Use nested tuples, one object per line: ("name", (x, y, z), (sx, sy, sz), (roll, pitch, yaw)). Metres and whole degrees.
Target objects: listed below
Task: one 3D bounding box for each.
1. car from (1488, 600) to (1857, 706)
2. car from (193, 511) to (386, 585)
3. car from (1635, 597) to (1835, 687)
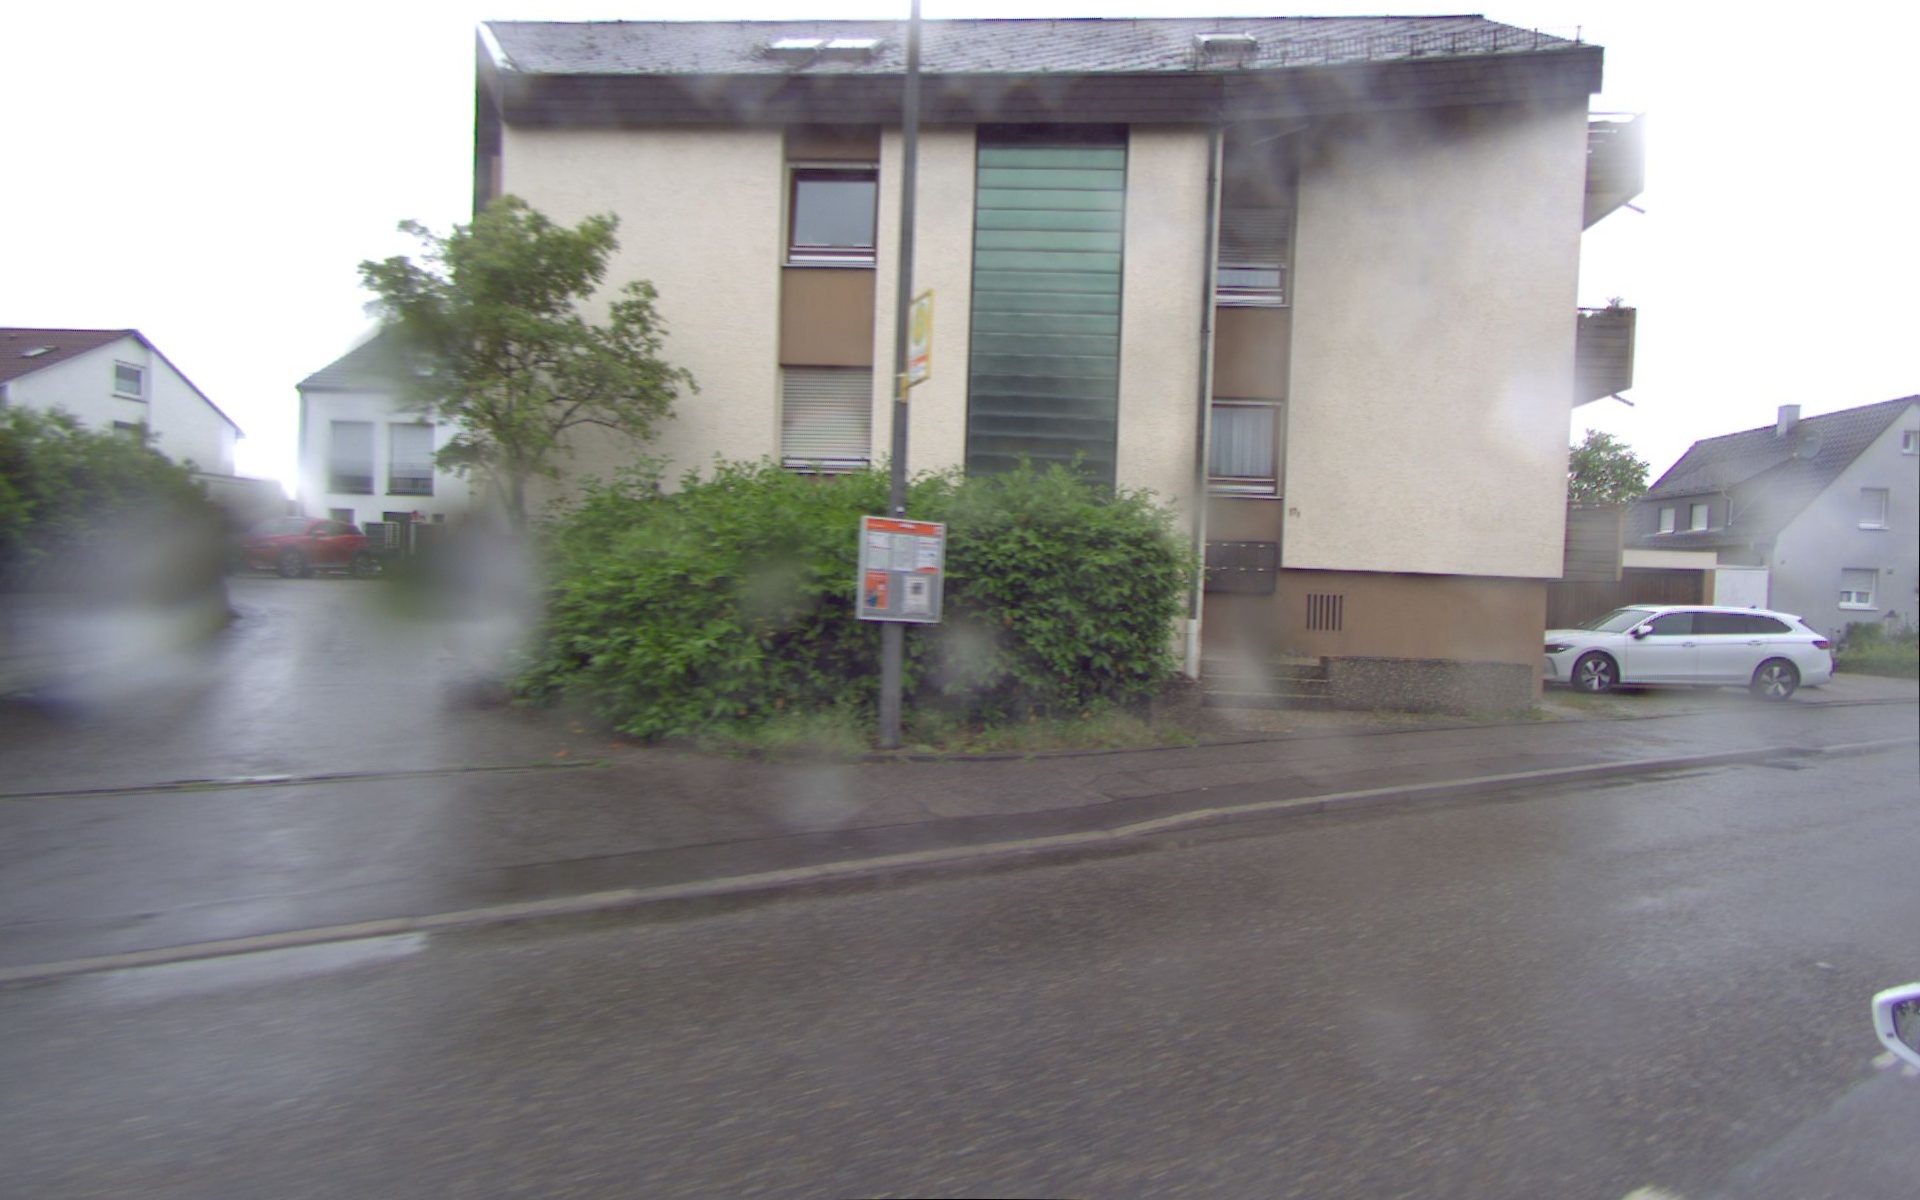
("car", (11.921, 0.843, 17.087), (4.784, 1.497, 1.907), (2, 2, 3))
("car", (-16.687, -1.245, 25.263), (1.960, 1.595, 4.002), (1, 0, 4))
("car", (16.366, 0.806, 21.471), (1.667, 1.528, 3.775), (3, 3, 8))
